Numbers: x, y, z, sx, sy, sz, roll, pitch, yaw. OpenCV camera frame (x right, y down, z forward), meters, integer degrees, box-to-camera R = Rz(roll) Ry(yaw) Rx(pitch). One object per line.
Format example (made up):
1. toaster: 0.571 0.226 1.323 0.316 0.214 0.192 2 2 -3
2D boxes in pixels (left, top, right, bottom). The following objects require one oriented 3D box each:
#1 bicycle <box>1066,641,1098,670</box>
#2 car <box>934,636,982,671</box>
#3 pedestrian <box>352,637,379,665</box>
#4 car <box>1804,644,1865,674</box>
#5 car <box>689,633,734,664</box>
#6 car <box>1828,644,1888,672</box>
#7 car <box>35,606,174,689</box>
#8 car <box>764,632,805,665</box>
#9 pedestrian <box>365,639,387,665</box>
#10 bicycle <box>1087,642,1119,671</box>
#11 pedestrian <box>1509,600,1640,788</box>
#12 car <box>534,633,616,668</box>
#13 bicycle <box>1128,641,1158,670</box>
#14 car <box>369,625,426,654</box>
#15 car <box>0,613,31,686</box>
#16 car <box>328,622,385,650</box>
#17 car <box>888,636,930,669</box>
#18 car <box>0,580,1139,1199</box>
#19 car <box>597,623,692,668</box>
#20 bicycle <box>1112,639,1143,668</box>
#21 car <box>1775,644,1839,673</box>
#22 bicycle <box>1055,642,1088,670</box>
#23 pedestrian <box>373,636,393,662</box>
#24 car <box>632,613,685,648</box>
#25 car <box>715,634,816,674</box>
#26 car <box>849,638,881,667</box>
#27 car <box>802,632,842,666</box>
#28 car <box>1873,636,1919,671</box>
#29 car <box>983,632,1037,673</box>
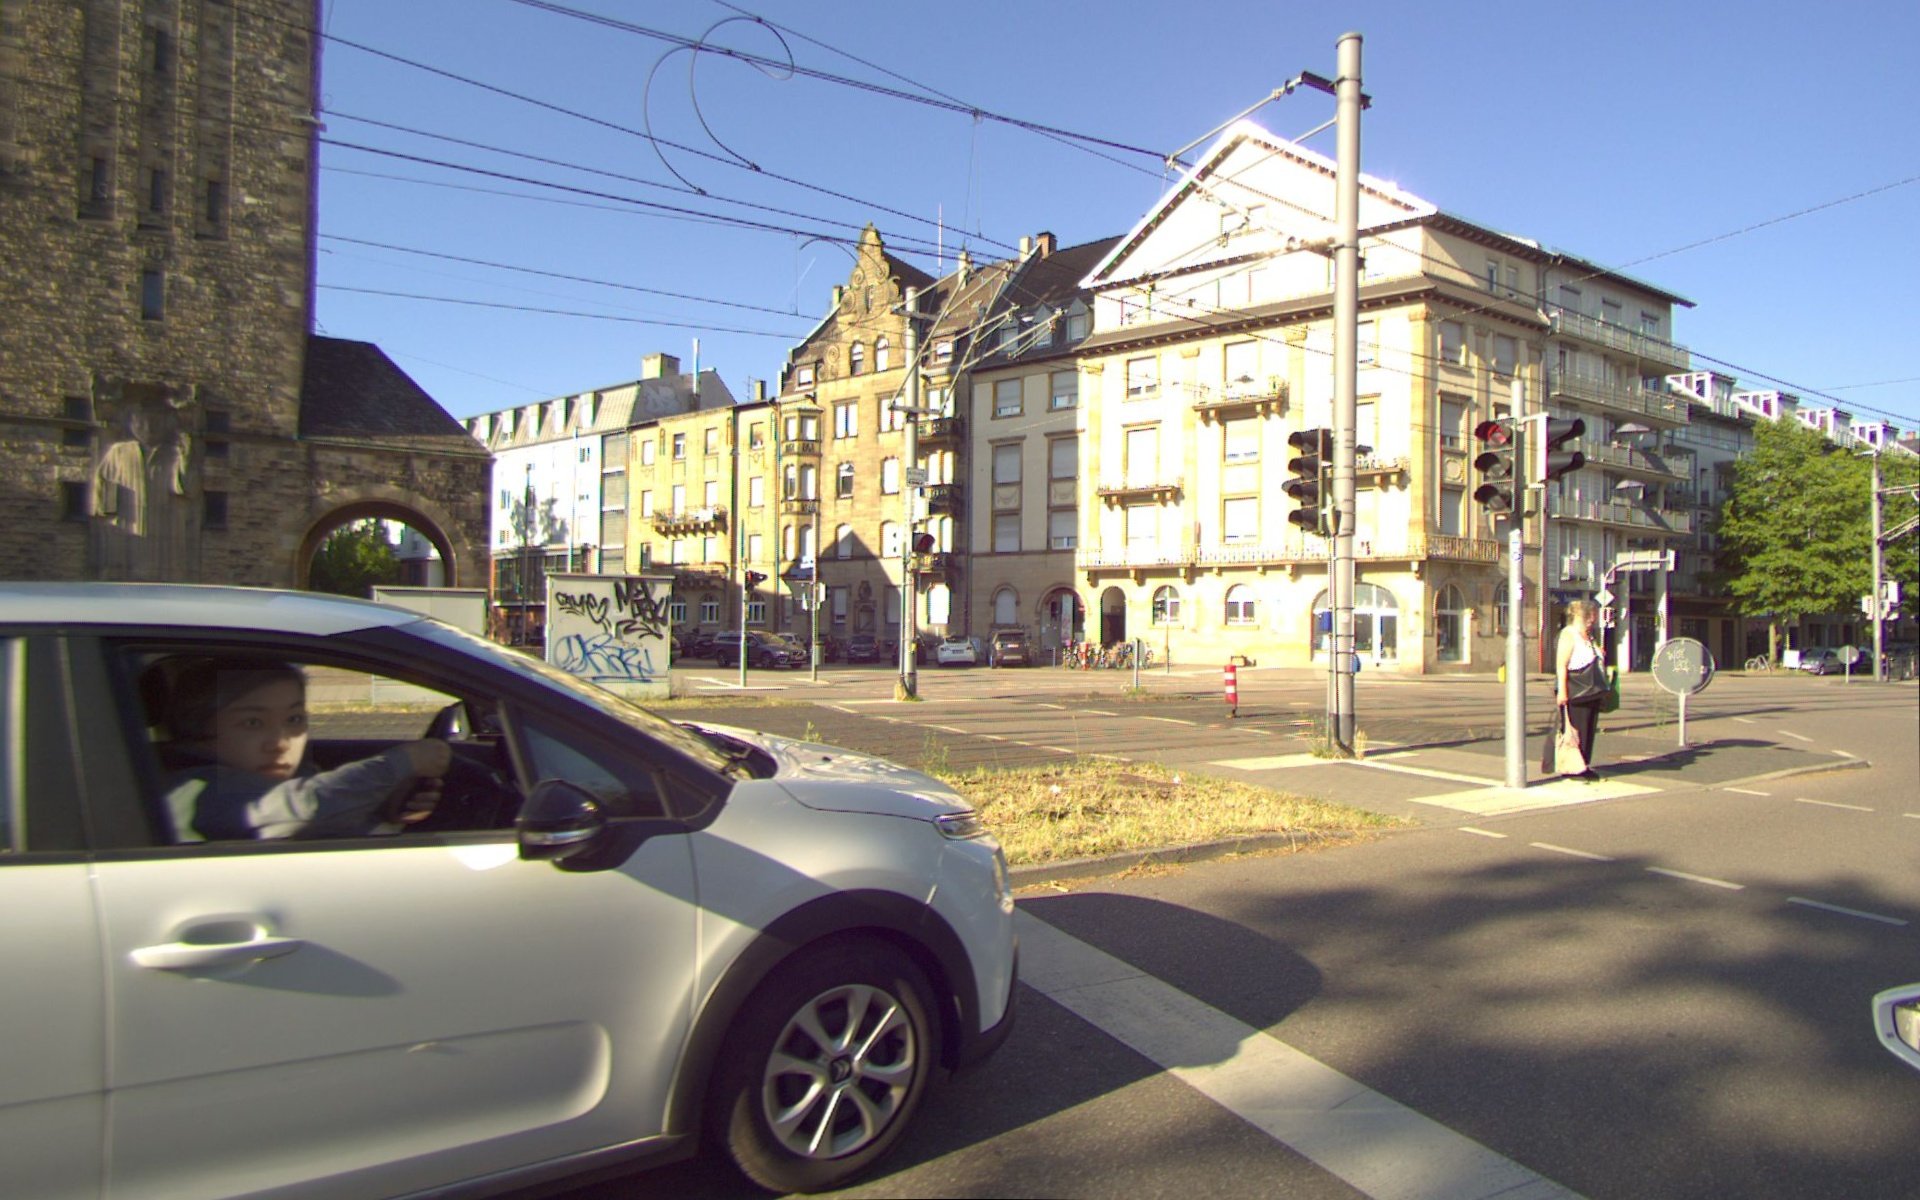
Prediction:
1. bicycle: 5.443 2.451 44.664 0.519 1.206 2.121 2 0 33
2. car: -0.136 2.541 48.653 1.962 1.374 3.997 -2 0 -5
3. pedestrian: -26.685 2.287 45.088 0.768 1.143 0.766 3 1 -4
4. car: 53.845 3.646 61.848 3.742 1.699 1.797 2 0 -31
5. car: -14.436 2.779 58.517 1.813 1.541 3.997 -2 0 -4
6. car: 57.132 3.685 63.898 3.742 1.657 1.797 2 0 -31
7. car: -21.167 1.117 25.033 1.848 1.830 3.995 2 0 -29
8. car: -9.712 2.683 55.974 1.813 1.541 3.997 -2 0 -4
9. pedestrian: -26.713 2.375 45.957 0.688 1.143 0.650 2 1 -13
10. bicycle: 6.346 2.491 44.494 0.544 1.206 2.121 2 0 33
11. pedestrian: 5.706 0.839 9.332 0.915 1.642 0.673 2 0 -33
12. car: -19.564 2.514 51.007 4.270 1.522 1.836 2 0 36
13. bicycle: 8.108 2.455 44.434 0.519 1.206 2.121 2 0 33
14. car: -42.682 2.958 76.345 1.750 1.929 4.001 -2 0 5
15. car: -23.345 1.174 23.263 1.747 1.652 4.012 2 0 -29
16. car: -47.286 2.821 78.827 1.750 1.929 4.001 -2 0 5
17. car: -2.607 2.615 50.670 1.962 1.374 3.997 -2 0 -5
18. car: -1.607 0.737 2.551 3.954 1.519 1.624 2 0 -31
19. car: -14.895 2.099 47.319 4.416 1.893 1.993 2 0 36
20. bicycle: 7.451 2.366 44.667 0.519 1.206 2.121 2 0 33
21. car: 50.337 3.485 59.668 3.742 1.599 1.797 2 0 -31
22. bicycle: 5.048 2.511 45.421 0.520 1.206 2.120 2 0 35
23. pedestrian: -26.837 2.278 46.702 0.690 1.143 0.649 2 1 -21
24. car: -18.602 1.856 62.129 1.750 1.929 4.001 -2 0 5
25. car: -8.270 2.238 42.536 4.216 1.438 1.836 1 0 36
26. car: -4.946 2.711 52.475 1.560 1.227 3.788 -2 0 -4
27. car: -7.317 2.589 53.670 1.813 1.541 3.997 -2 0 -4
28. car: 63.623 3.593 67.787 3.742 2.195 1.930 2 0 -31
29. car: 2.252 2.395 46.720 1.962 1.606 3.997 -2 0 -5
